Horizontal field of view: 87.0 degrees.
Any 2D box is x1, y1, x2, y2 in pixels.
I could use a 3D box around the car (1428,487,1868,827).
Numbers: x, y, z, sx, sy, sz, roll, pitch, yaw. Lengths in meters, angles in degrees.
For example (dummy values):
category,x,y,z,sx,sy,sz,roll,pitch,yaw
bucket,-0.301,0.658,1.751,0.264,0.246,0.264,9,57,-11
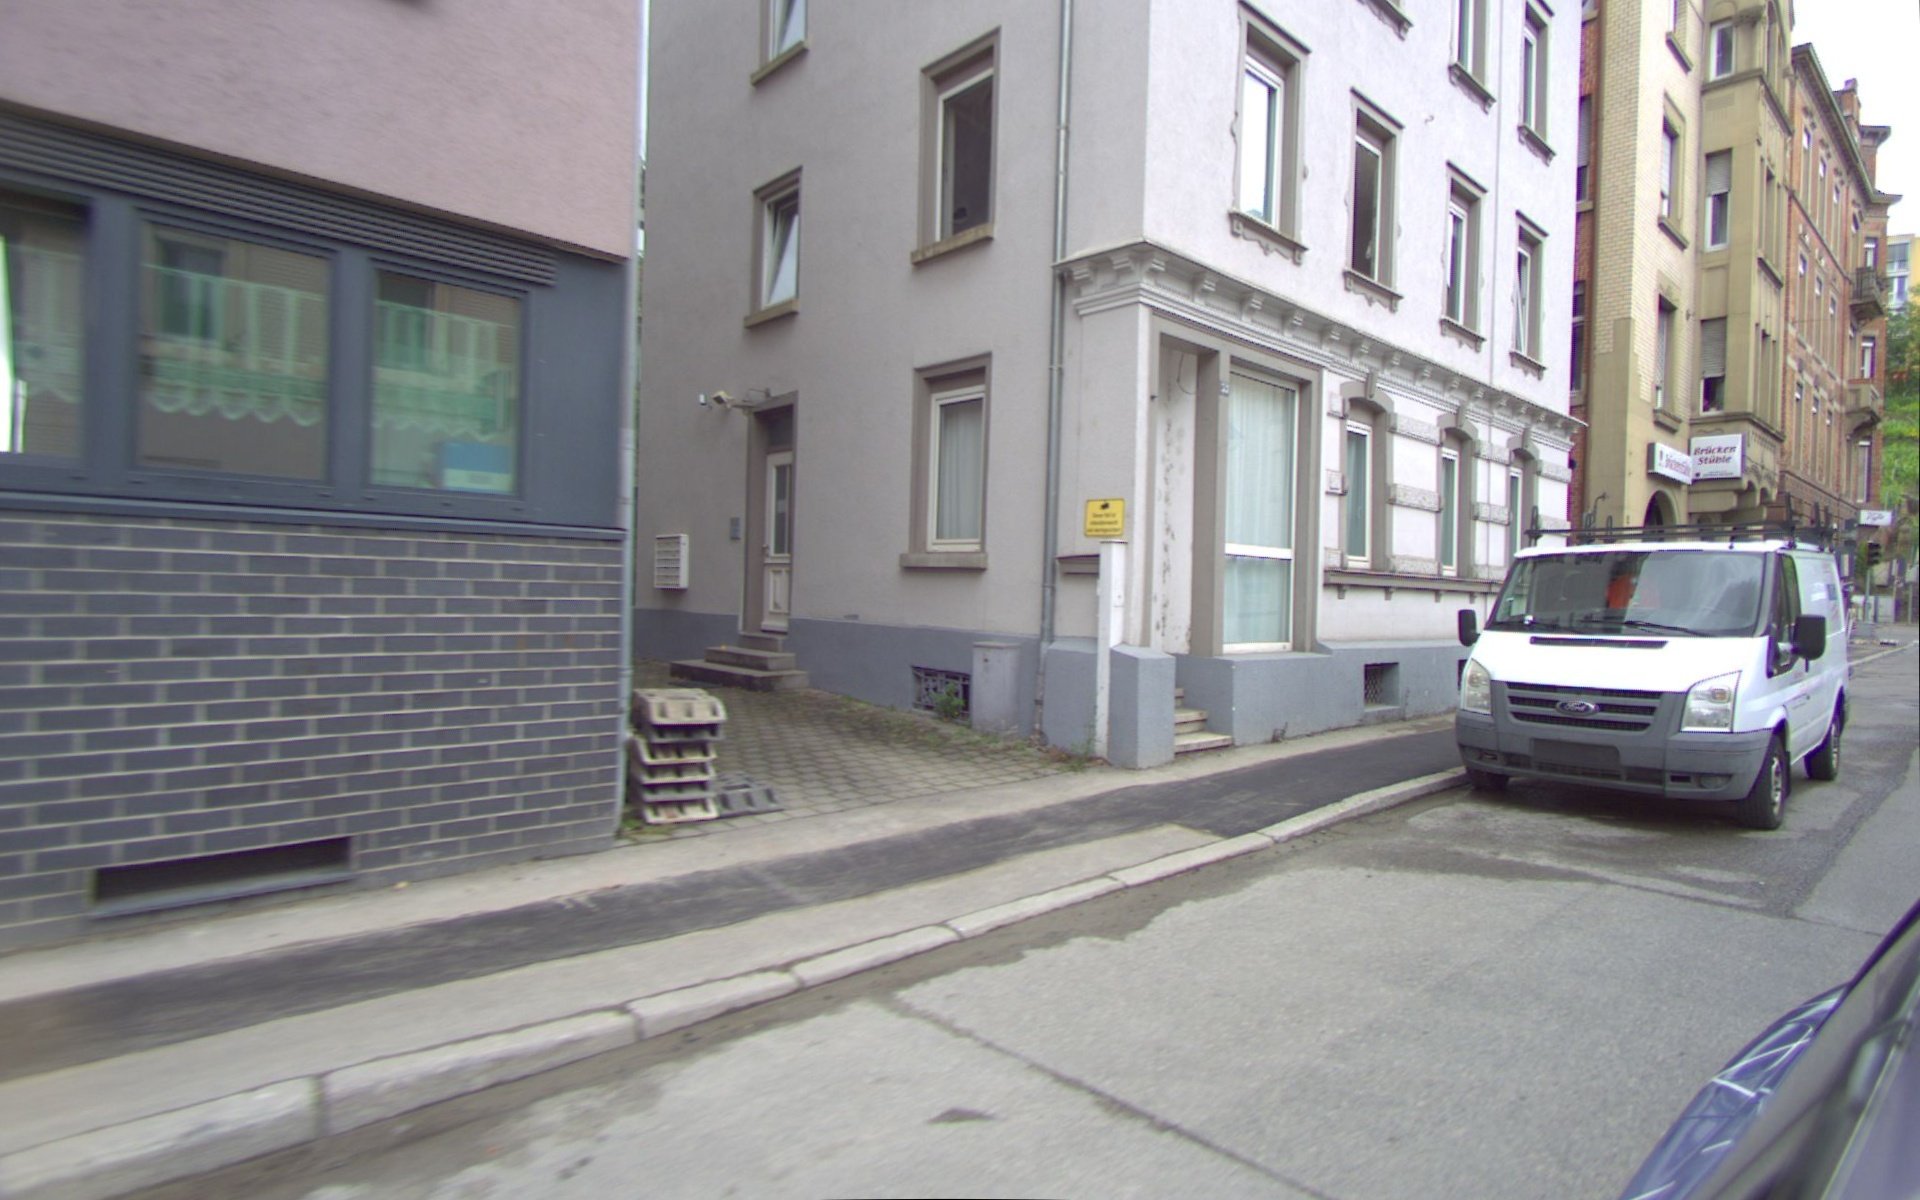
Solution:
category,x,y,z,sx,sy,sz,roll,pitch,yaw
car,5.879,0.308,8.364,4.796,2.006,1.996,0,1,-43
